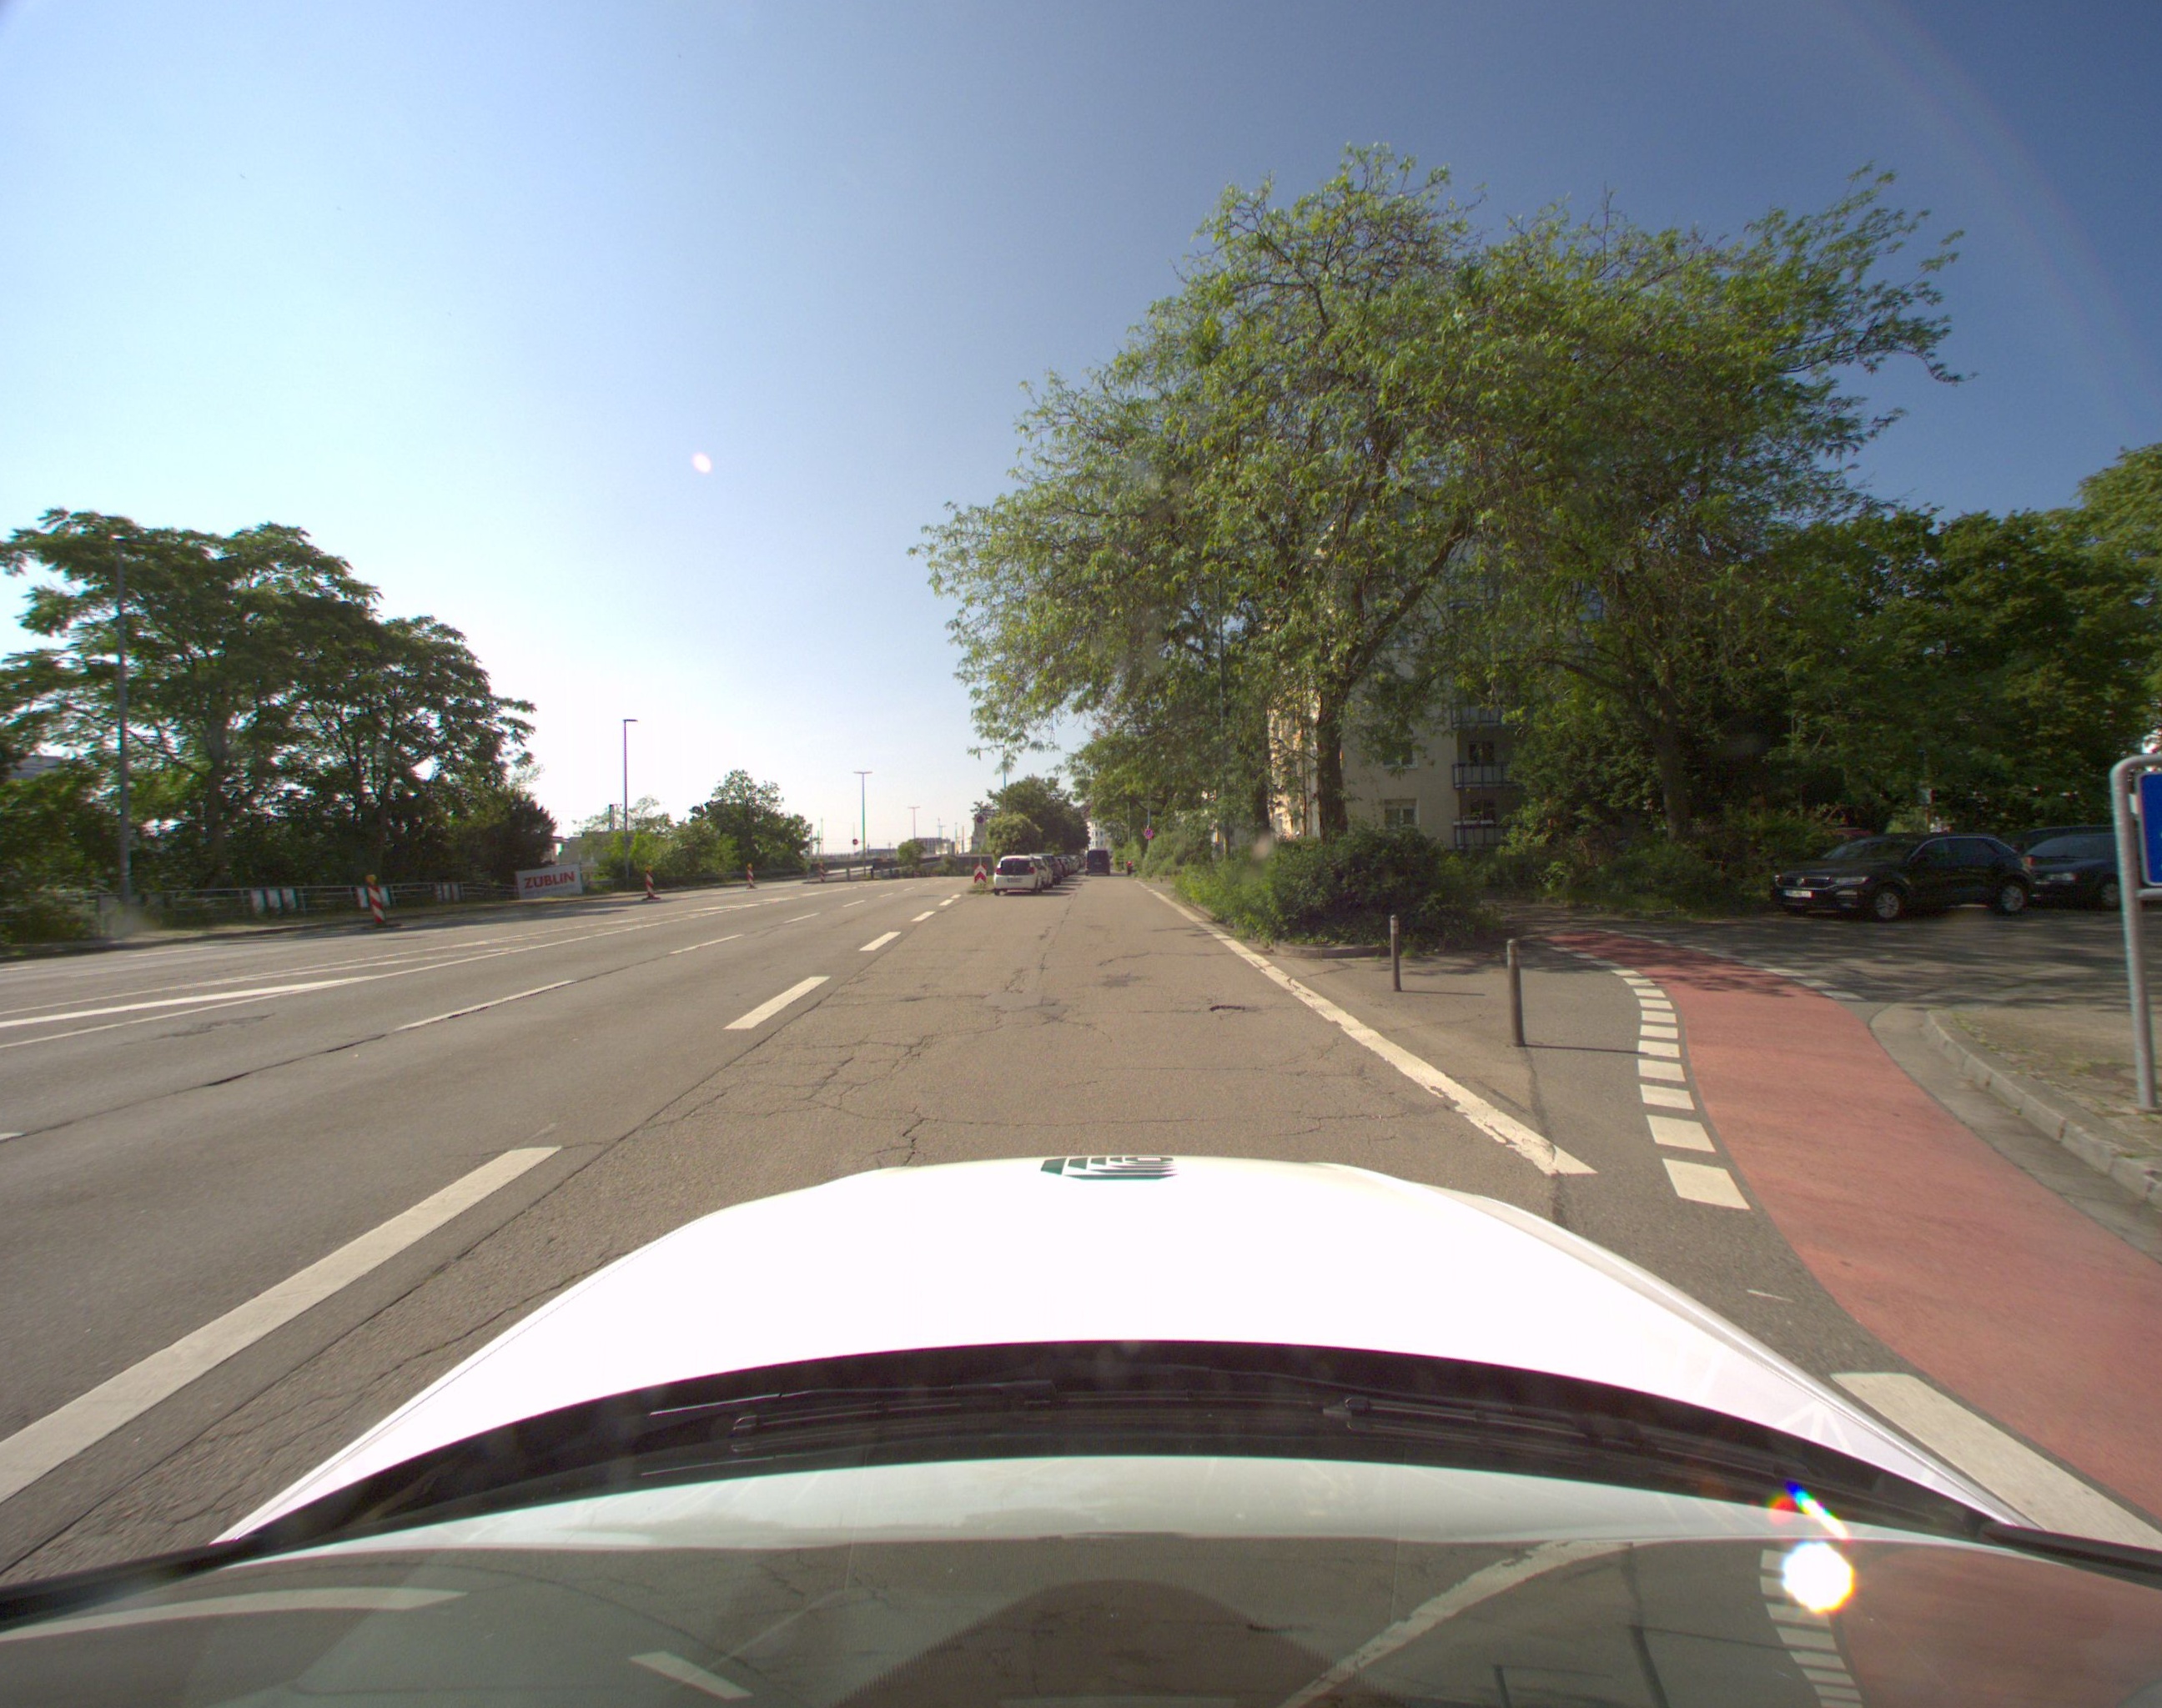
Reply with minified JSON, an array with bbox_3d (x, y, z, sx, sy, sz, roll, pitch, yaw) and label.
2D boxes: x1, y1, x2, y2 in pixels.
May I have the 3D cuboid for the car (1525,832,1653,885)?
[{"bbox_3d":[17.318,0.181,27.797,3.542,1.654,1.698,-2,-1,36],"label":"car"}]

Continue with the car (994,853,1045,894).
[{"bbox_3d":[-2.332,0.722,31.823,1.613,1.505,3.463,0,0,2],"label":"car"}]

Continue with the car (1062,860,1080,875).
[{"bbox_3d":[-1.013,1.409,83.613,1.657,1.468,4.202,1,0,2],"label":"car"}]

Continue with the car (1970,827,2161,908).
[{"bbox_3d":[20.011,0.215,16.054,3.764,1.442,1.773,-2,0,-14],"label":"car"}]

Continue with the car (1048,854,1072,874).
[{"bbox_3d":[-1.630,0.787,63.503,1.657,1.512,3.791,1,0,2],"label":"car"}]

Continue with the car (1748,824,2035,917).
[{"bbox_3d":[15.206,0.289,15.391,3.957,1.548,1.835,-1,-1,-8],"label":"car"}]

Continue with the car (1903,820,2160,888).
[{"bbox_3d":[25.614,0.054,22.204,4.154,1.674,1.800,-2,-1,32],"label":"car"}]

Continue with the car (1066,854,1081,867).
[{"bbox_3d":[-0.911,0.815,100.516,1.657,1.509,4.010,1,0,2],"label":"car"}]

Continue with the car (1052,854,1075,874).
[{"bbox_3d":[-1.427,0.842,68.208,1.657,1.583,3.933,-2,0,2],"label":"car"}]

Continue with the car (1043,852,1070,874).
[{"bbox_3d":[-1.706,0.602,57.566,1.657,1.473,3.791,1,0,2],"label":"car"}]

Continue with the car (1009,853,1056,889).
[{"bbox_3d":[-2.119,0.720,36.385,1.715,1.505,4.133,1,0,2],"label":"car"}]

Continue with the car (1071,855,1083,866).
[{"bbox_3d":[-0.555,0.896,116.526,1.657,1.509,4.010,-1,0,2],"label":"car"}]

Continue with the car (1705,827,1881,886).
[{"bbox_3d":[21.629,0.102,24.948,3.798,1.674,1.673,-2,-1,32],"label":"car"}]

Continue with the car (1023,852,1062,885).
[{"bbox_3d":[-1.939,0.721,41.868,1.766,1.579,4.185,-2,0,0],"label":"car"}]

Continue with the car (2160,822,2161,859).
[{"bbox_3d":[46.259,-0.570,33.624,4.020,1.618,1.911,-1,0,-39],"label":"car"}]

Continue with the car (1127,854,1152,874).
[{"bbox_3d":[4.620,0.801,64.716,1.720,1.420,4.001,-2,-1,1],"label":"car"}]

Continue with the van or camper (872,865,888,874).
[{"bbox_3d":[-29.672,2.300,120.313,1.464,1.350,4.622,-1,0,-5],"label":"van or camper"}]

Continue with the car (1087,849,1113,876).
[{"bbox_3d":[1.442,0.624,61.596,1.876,1.921,4.010,1,0,2],"label":"car"}]
